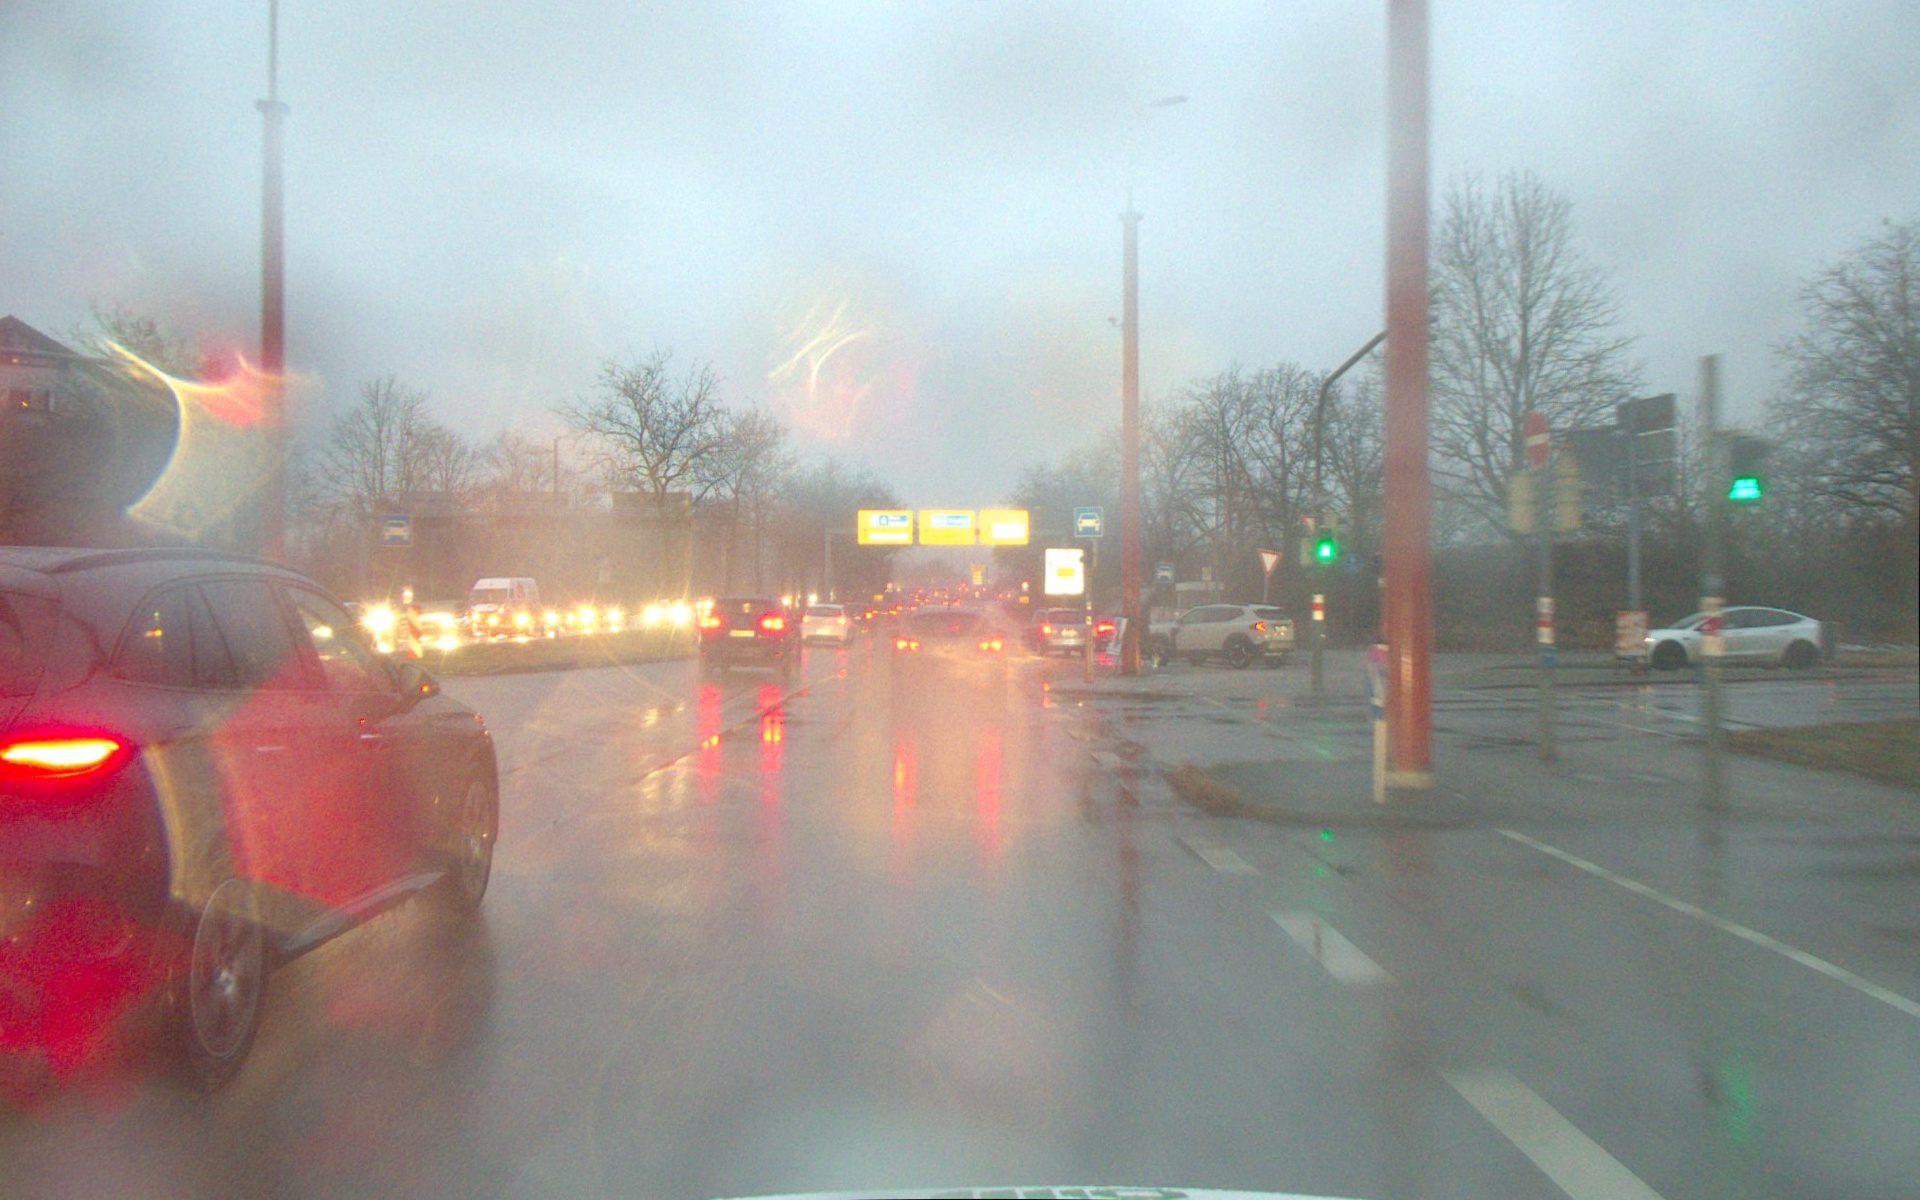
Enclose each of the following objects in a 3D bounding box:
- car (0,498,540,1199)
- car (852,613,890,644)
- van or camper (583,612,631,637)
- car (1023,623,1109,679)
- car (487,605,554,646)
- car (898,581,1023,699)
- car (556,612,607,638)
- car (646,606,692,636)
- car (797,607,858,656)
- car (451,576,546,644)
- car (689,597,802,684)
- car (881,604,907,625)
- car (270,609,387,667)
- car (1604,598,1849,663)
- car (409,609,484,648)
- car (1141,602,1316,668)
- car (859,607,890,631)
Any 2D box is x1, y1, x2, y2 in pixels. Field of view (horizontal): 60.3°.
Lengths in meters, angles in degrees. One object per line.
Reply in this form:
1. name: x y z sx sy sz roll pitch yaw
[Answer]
1. car: -2.984 0.622 5.914 1.785 1.677 4.466 0 0 0
2. car: -4.004 1.260 74.710 1.474 1.362 4.000 0 0 0
3. van or camper: -21.708 1.470 101.861 1.865 1.472 5.158 1 0 0
4. car: 3.352 1.600 52.947 1.897 1.677 4.459 2 -1 -7
5. car: -18.227 1.045 68.725 1.734 1.614 4.032 0 0 -1
6. car: 0.021 0.575 25.918 1.785 1.677 4.466 0 0 0
7. car: -21.607 1.413 94.574 1.865 1.472 4.442 1 0 0
8. car: -15.693 1.130 89.382 1.734 1.563 4.840 0 0 -1
9. car: -4.627 1.077 58.068 1.785 1.677 4.000 0 0 0
10. car: -21.832 0.509 78.595 2.244 3.057 7.347 1 -1 1
11. car: -4.370 0.803 34.247 1.785 1.677 4.000 0 0 0
12. car: -5.445 1.225 137.142 1.953 1.604 4.000 1 -1 0
13. car: -18.286 1.061 48.125 1.734 1.560 4.524 0 0 -1
14. car: 17.066 0.669 37.033 4.638 1.400 1.884 0 0 8
15. car: -21.548 1.171 69.576 1.733 1.563 4.446 0 0 1
16. car: 6.970 0.883 43.232 1.807 1.646 4.340 1 -1 -43
17. car: -5.565 1.234 107.852 1.785 1.530 4.000 0 0 0
